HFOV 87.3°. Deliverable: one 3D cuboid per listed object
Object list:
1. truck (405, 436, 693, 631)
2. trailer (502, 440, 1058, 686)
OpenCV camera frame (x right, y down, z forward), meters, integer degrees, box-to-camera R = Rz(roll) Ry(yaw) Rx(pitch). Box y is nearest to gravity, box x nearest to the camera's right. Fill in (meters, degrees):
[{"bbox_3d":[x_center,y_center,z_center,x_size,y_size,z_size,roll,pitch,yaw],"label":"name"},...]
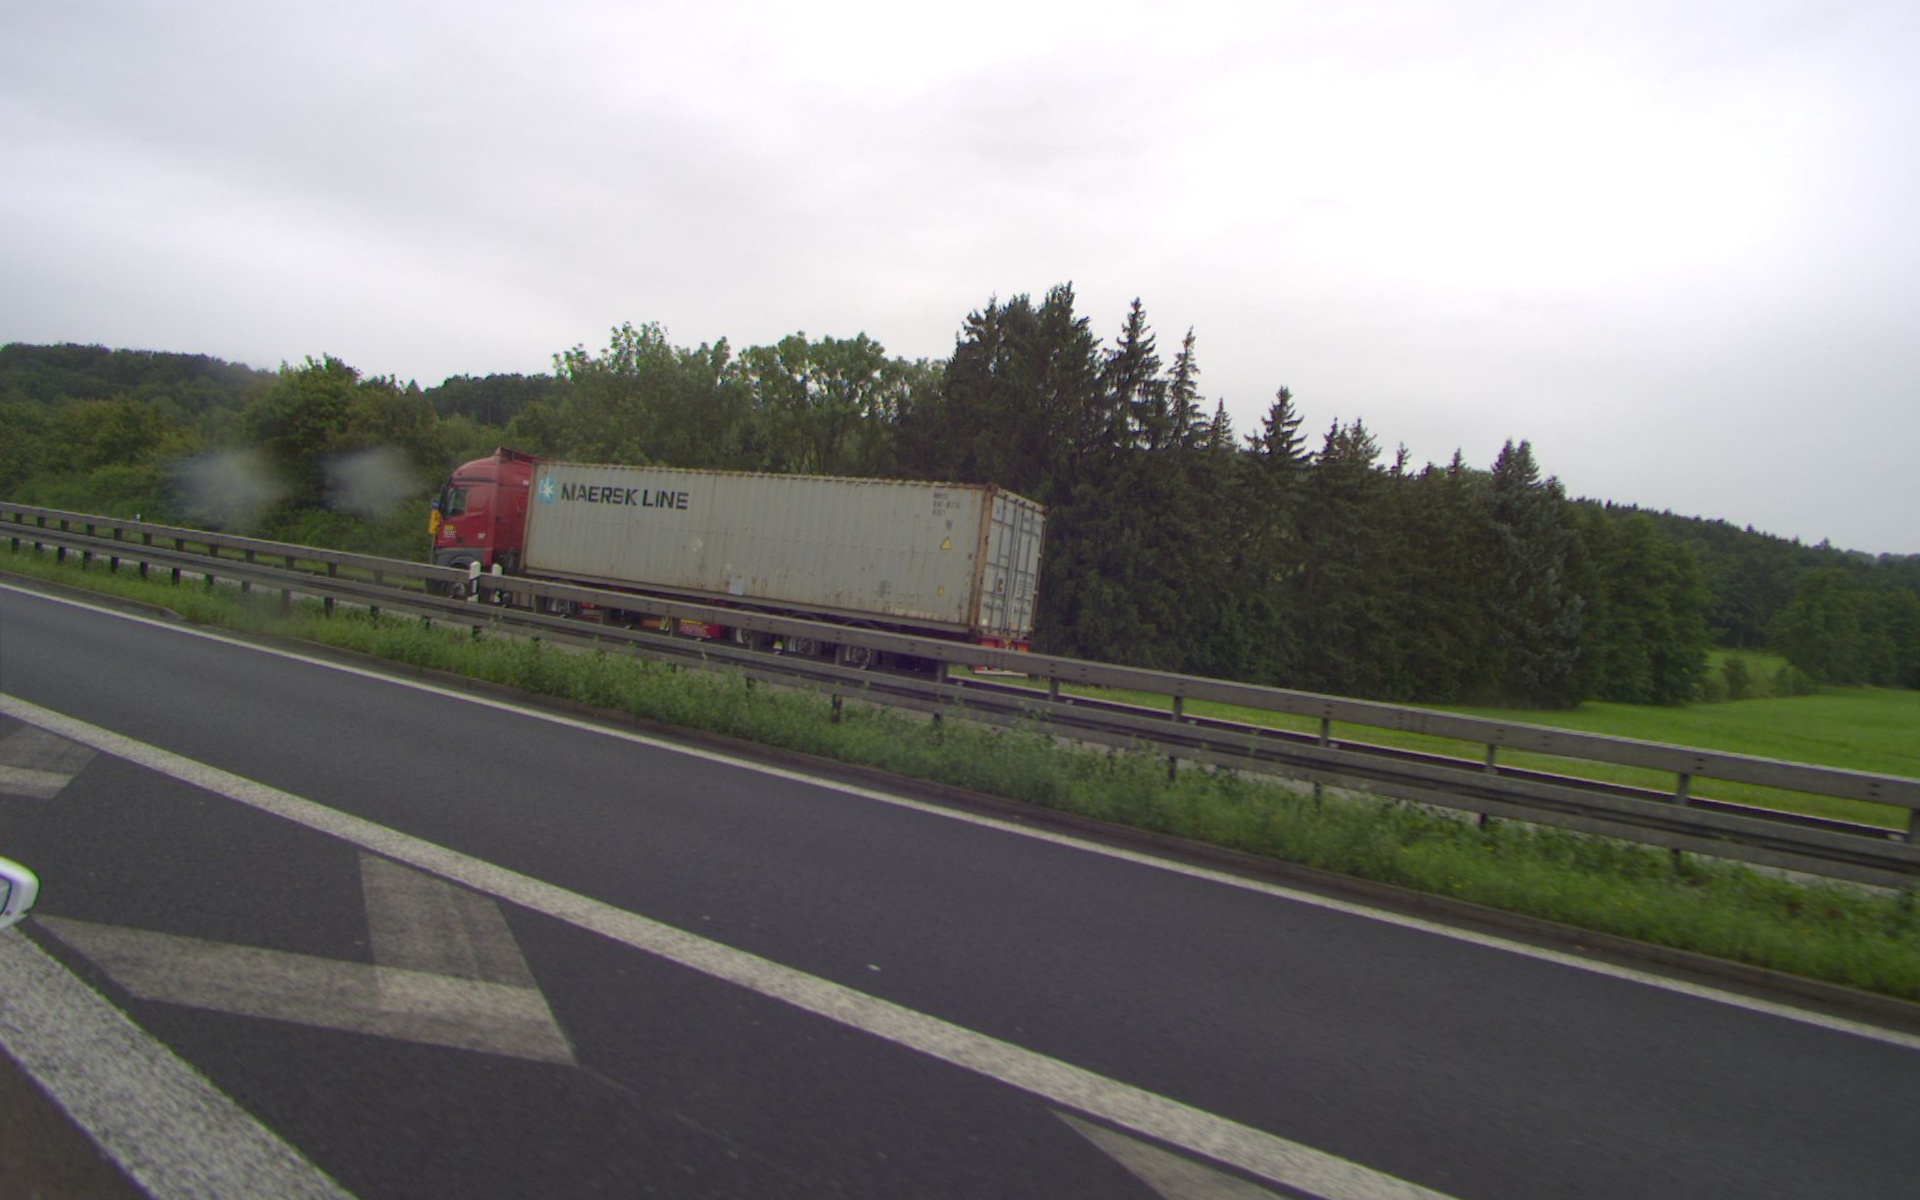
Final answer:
[{"bbox_3d":[-9.995,-1.642,24.370,6.280,3.930,2.623,7,-1,27],"label":"truck"},{"bbox_3d":[-4.294,-0.996,21.355,12.273,3.940,2.611,6,-1,28],"label":"trailer"}]
